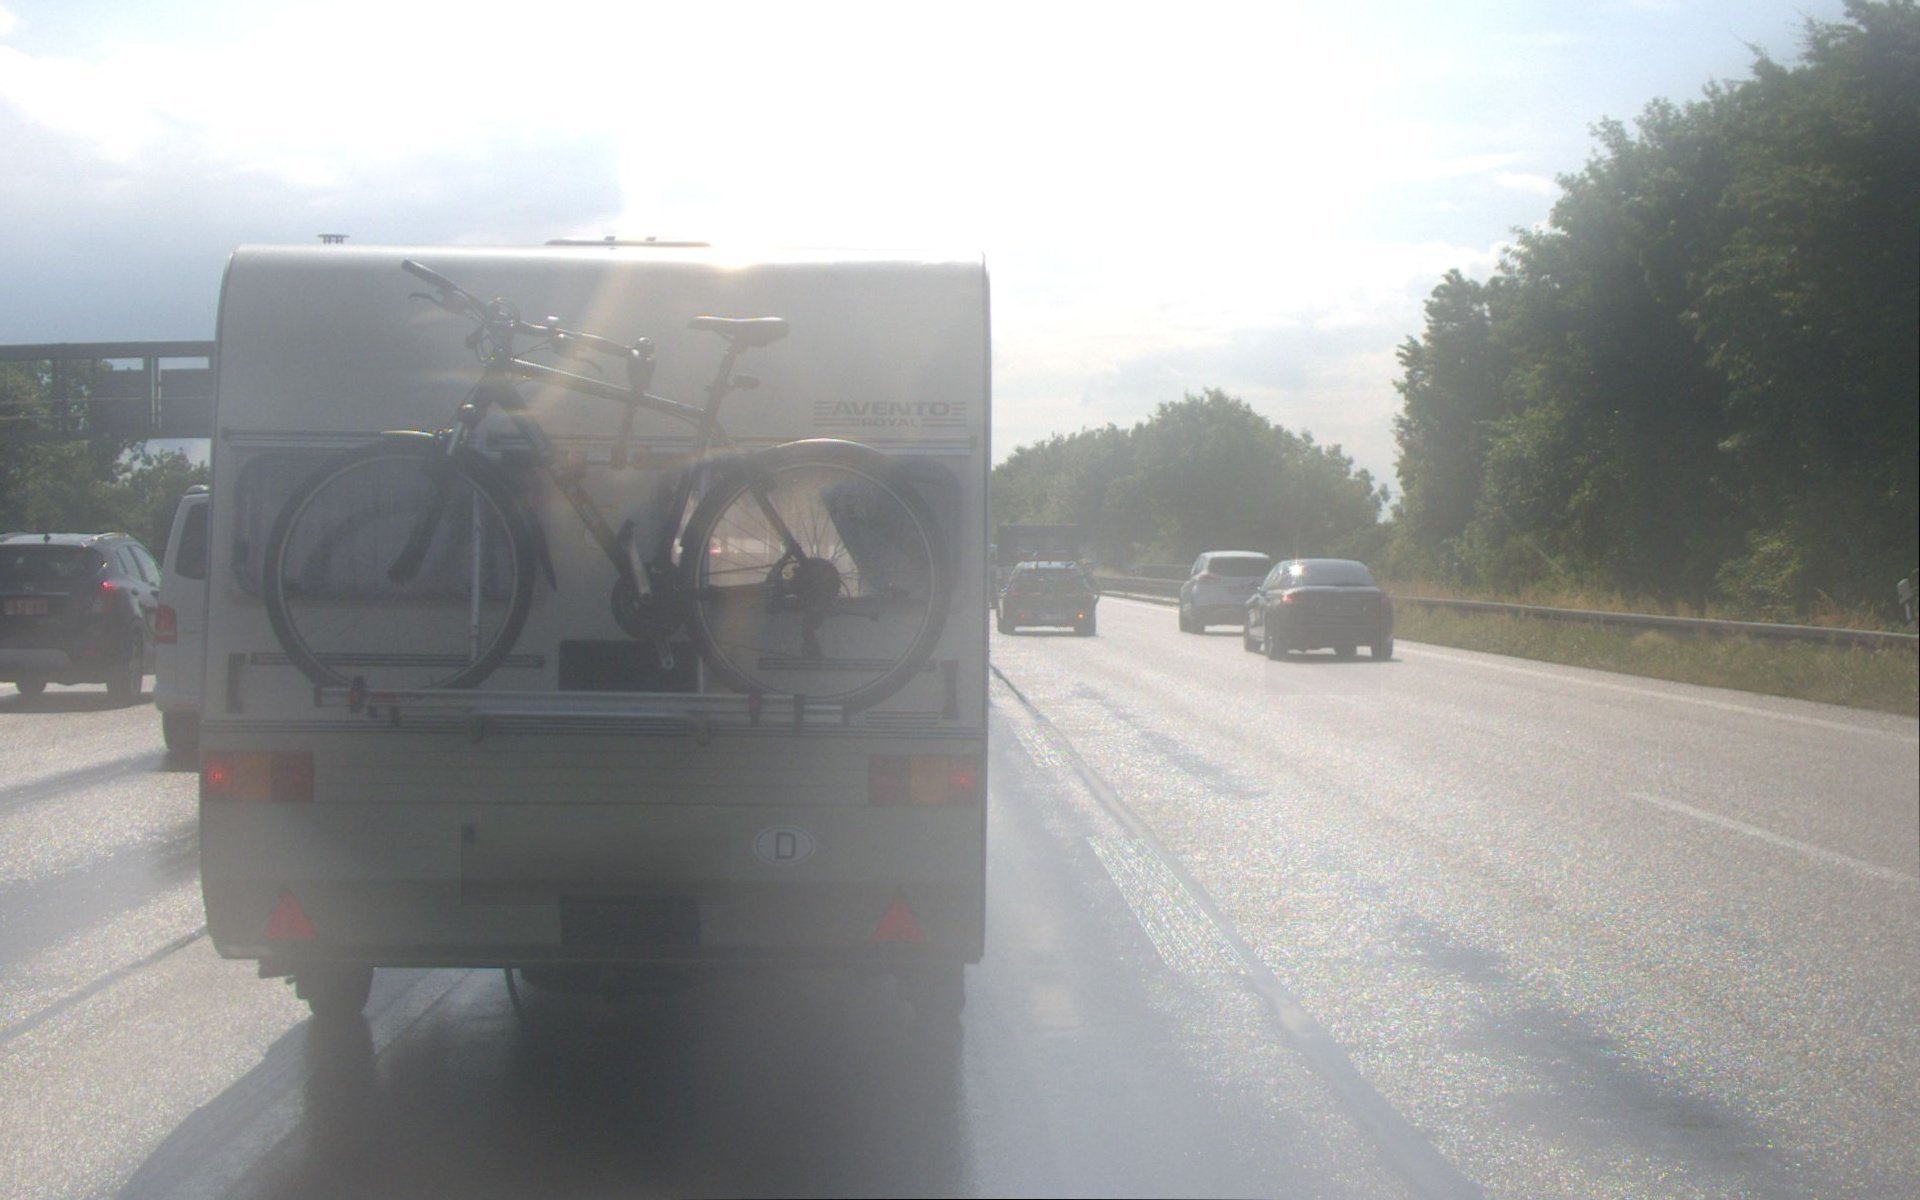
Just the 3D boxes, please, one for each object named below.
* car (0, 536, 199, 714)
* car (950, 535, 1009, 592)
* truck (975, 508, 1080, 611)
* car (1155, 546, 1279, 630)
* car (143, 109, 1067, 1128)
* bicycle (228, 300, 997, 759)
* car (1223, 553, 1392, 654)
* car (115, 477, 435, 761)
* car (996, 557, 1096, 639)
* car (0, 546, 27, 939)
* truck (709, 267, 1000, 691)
[{"bbox_3d":[-8.817,0.213,34.280,1.771,1.656,4.001,1,1,-4],"label":"car"},{"bbox_3d":[0.567,-1.103,104.143,1.719,1.678,4.000,0,1,0],"label":"car"},{"bbox_3d":[1.613,-1.018,84.931,2.415,2.435,6.053,0,1,0],"label":"truck"},{"bbox_3d":[5.169,-0.258,69.668,1.876,1.623,4.001,1,1,-5],"label":"car"},{"bbox_3d":[-0.951,0.032,11.100,2.410,2.665,4.000,1,0,0],"label":"car"},{"bbox_3d":[-0.882,-0.181,8.904,1.933,1.137,0.384,1,0,0],"label":"bicycle"},{"bbox_3d":[5.346,0.031,53.374,1.876,1.489,4.001,1,1,-5],"label":"car"},{"bbox_3d":[-5.189,0.118,26.521,1.876,2.007,4.001,1,1,-4],"label":"car"},{"bbox_3d":[1.663,-0.056,67.743,1.835,1.552,4.000,1,1,0],"label":"car"},{"bbox_3d":[-4.531,0.546,11.139,1.987,1.453,3.827,0,1,0],"label":"car"},{"bbox_3d":[-1.346,-1.389,42.949,3.146,4.610,10.737,0,1,-2],"label":"truck"}]
